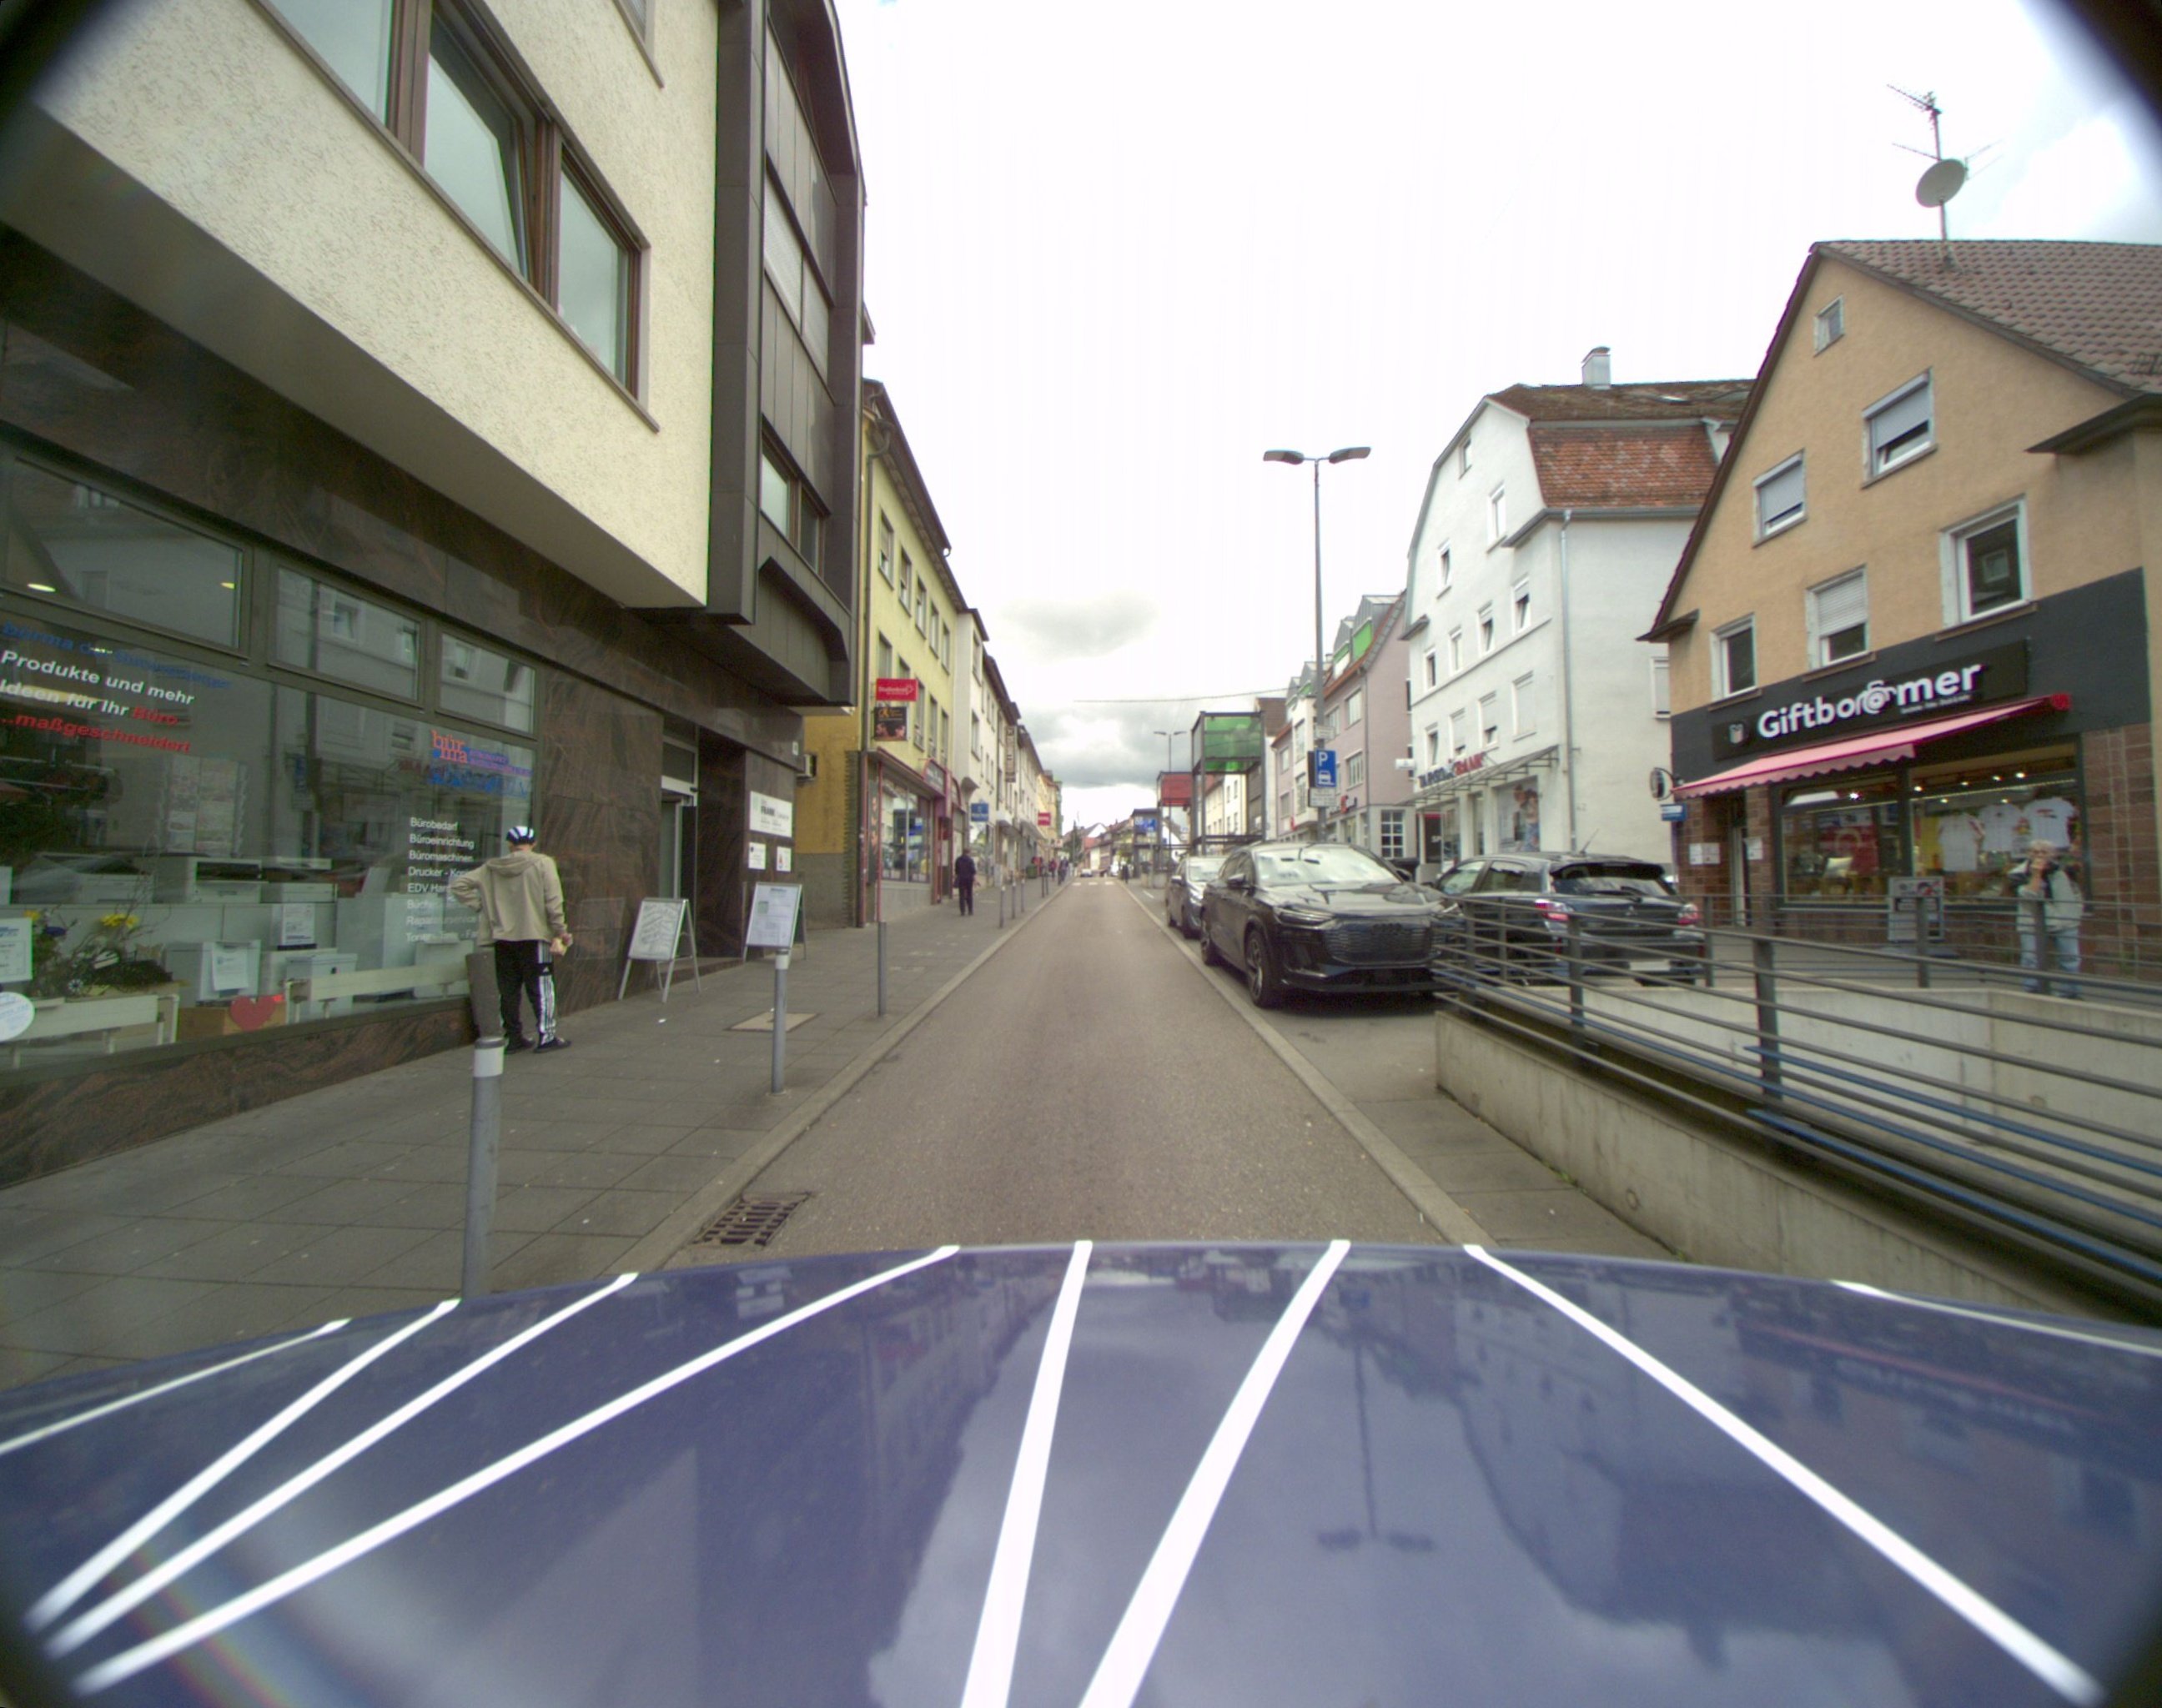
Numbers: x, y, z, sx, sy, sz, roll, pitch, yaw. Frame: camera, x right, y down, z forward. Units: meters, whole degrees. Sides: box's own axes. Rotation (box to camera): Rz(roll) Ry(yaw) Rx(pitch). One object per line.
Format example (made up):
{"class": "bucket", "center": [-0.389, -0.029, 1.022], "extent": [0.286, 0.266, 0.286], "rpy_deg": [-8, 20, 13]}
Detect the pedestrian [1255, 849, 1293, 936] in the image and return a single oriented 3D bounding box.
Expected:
{"class": "pedestrian", "center": [3.786, 0.739, 14.944], "extent": [0.535, 1.662, 0.901], "rpy_deg": [-1, 0, 4]}

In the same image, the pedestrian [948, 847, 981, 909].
{"class": "pedestrian", "center": [-3.408, 0.683, 22.216], "extent": [0.713, 1.743, 0.785], "rpy_deg": [4, 0, 1]}

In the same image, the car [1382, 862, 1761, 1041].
{"class": "car", "center": [5.130, 0.886, 8.693], "extent": [1.743, 1.467, 3.883], "rpy_deg": [3, 0, 0]}

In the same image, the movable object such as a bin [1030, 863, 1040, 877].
{"class": "movable object such as a bin", "center": [-3.335, 1.146, 55.120], "extent": [0.670, 1.024, 0.560], "rpy_deg": [0, 0, 1]}

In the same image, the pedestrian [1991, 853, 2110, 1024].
{"class": "pedestrian", "center": [10.068, 0.838, 7.918], "extent": [0.644, 1.679, 0.668], "rpy_deg": [0, 0, 41]}

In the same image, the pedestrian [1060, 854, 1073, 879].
{"class": "pedestrian", "center": [-1.020, 0.844, 52.447], "extent": [0.740, 1.660, 0.786], "rpy_deg": [2, 0, -8]}

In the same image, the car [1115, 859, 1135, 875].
{"class": "car", "center": [4.291, 1.229, 74.486], "extent": [1.754, 1.452, 3.601], "rpy_deg": [-2, 0, 2]}

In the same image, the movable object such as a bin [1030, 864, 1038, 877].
{"class": "movable object such as a bin", "center": [-3.369, 1.198, 54.517], "extent": [0.568, 0.951, 0.498], "rpy_deg": [0, 0, 1]}

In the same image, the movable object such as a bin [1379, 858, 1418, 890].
{"class": "movable object such as a bin", "center": [13.894, 0.869, 33.281], "extent": [1.286, 1.368, 1.067], "rpy_deg": [-1, 0, 1]}

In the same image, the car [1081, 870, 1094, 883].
{"class": "car", "center": [0.869, 3.108, 106.947], "extent": [1.741, 1.608, 3.843], "rpy_deg": [-2, 0, 1]}

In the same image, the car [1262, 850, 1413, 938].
{"class": "car", "center": [5.138, 0.714, 15.828], "extent": [1.743, 1.534, 4.193], "rpy_deg": [-2, 0, 1]}

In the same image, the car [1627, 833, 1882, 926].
{"class": "car", "center": [15.434, 0.569, 17.601], "extent": [4.080, 1.862, 1.884], "rpy_deg": [-3, 0, 3]}

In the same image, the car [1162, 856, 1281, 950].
{"class": "car", "center": [2.566, 0.832, 14.681], "extent": [1.624, 1.523, 3.670], "rpy_deg": [-2, 0, 1]}

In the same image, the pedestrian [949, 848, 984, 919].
{"class": "pedestrian", "center": [-2.887, 0.735, 19.167], "extent": [0.713, 1.743, 0.787], "rpy_deg": [1, 1, 1]}

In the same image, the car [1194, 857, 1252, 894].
{"class": "car", "center": [5.974, 0.863, 32.329], "extent": [1.573, 1.466, 3.855], "rpy_deg": [0, 0, -2]}

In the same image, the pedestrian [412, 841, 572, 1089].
{"class": "pedestrian", "center": [-4.229, 0.769, 5.493], "extent": [0.665, 1.679, 0.543], "rpy_deg": [3, 0, -5]}

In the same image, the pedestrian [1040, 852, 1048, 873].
{"class": "pedestrian", "center": [-3.130, 0.739, 63.867], "extent": [0.627, 1.716, 0.607], "rpy_deg": [2, 0, -4]}

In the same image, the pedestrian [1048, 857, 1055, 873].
{"class": "pedestrian", "center": [-2.999, 1.112, 77.141], "extent": [0.627, 1.620, 0.607], "rpy_deg": [-2, 1, -4]}

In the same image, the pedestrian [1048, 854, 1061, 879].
{"class": "pedestrian", "center": [-1.819, 0.844, 52.185], "extent": [0.740, 1.660, 0.627], "rpy_deg": [2, 0, -8]}

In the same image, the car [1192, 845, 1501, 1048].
{"class": "car", "center": [2.526, 0.767, 8.483], "extent": [1.961, 1.630, 4.314], "rpy_deg": [-2, 0, 1]}

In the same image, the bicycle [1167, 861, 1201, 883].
{"class": "bicycle", "center": [5.580, 0.965, 41.202], "extent": [1.782, 1.216, 0.460], "rpy_deg": [0, 1, 0]}
